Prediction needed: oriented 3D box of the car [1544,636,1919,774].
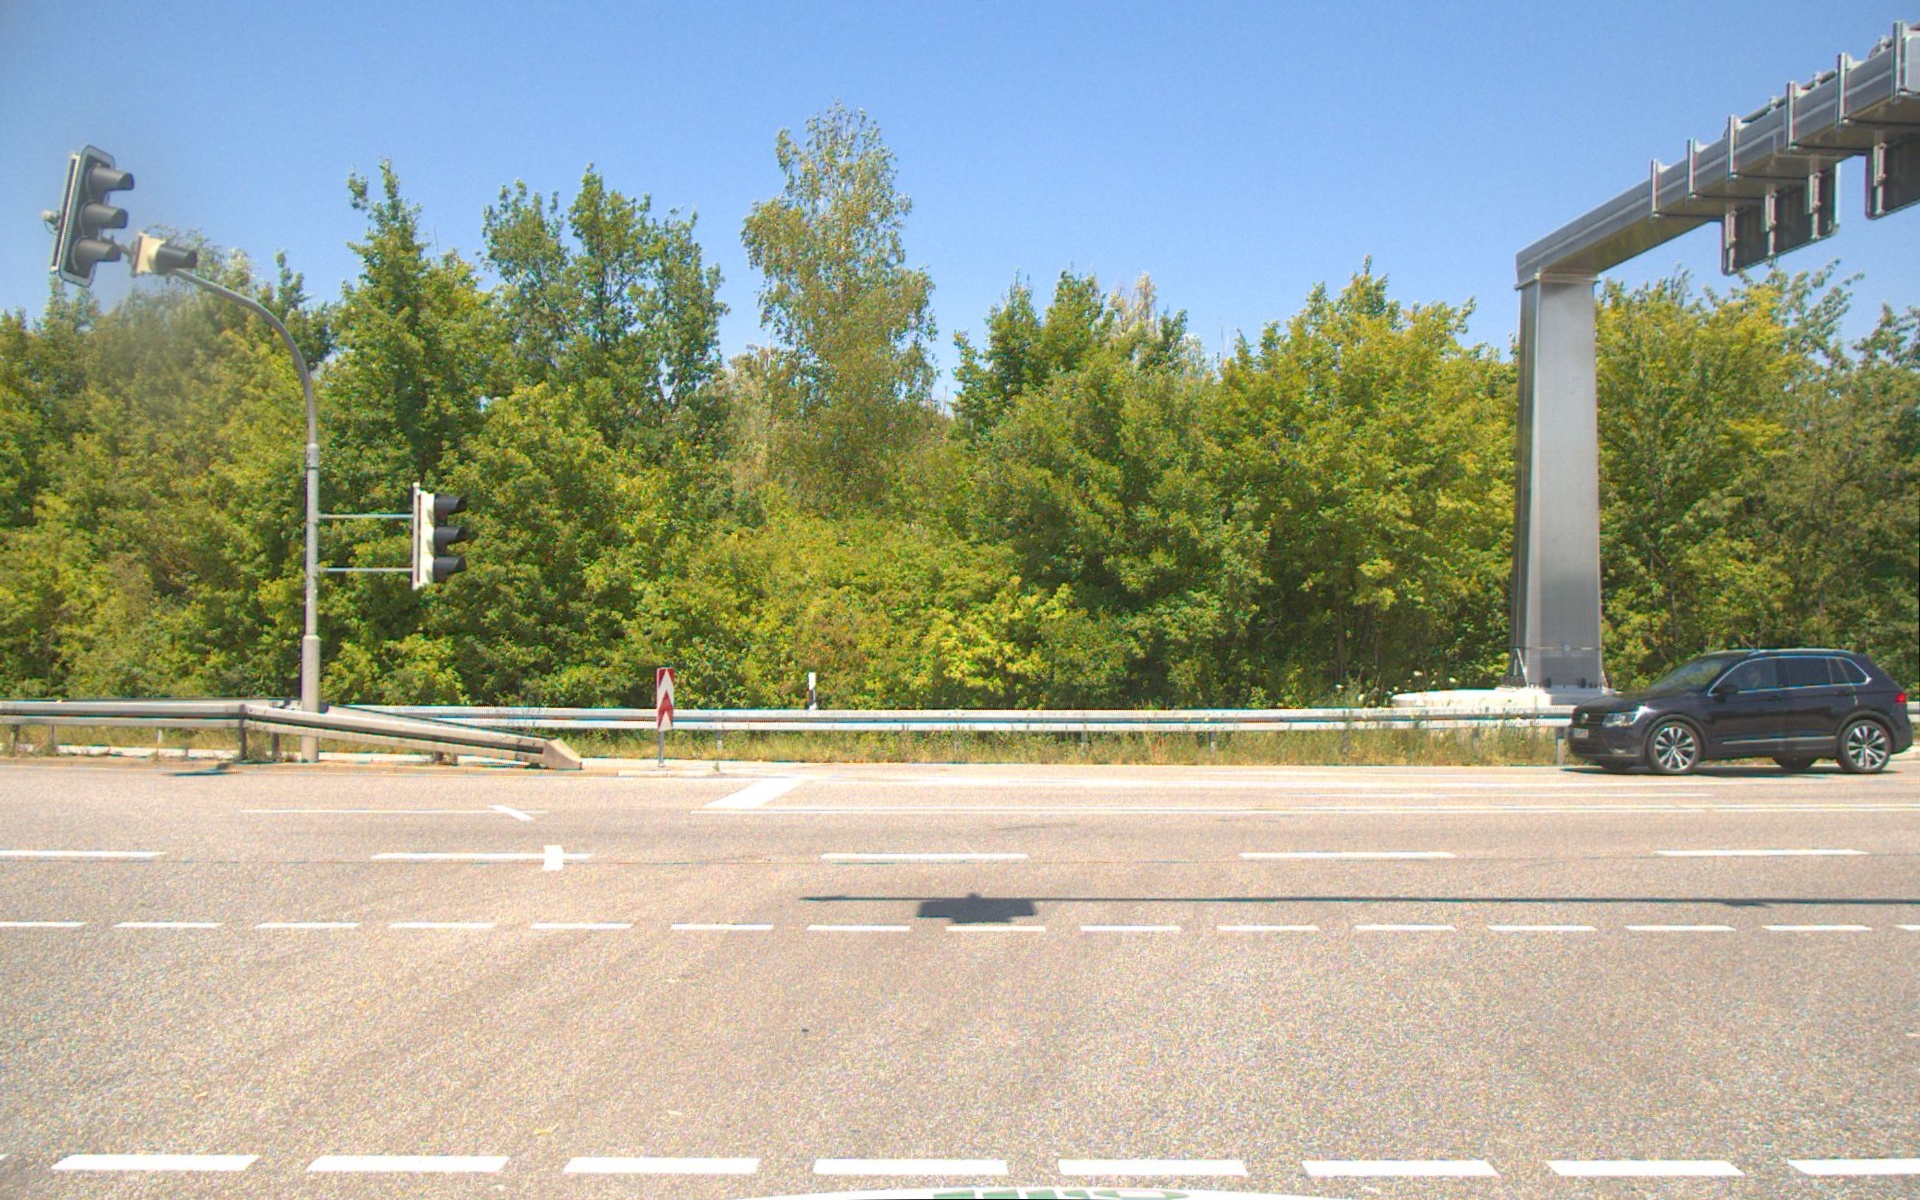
[{"bbox_3d":[10.410,1.417,22.500,4.179,1.661,1.902,-1,-4,-5],"label":"car"}]
